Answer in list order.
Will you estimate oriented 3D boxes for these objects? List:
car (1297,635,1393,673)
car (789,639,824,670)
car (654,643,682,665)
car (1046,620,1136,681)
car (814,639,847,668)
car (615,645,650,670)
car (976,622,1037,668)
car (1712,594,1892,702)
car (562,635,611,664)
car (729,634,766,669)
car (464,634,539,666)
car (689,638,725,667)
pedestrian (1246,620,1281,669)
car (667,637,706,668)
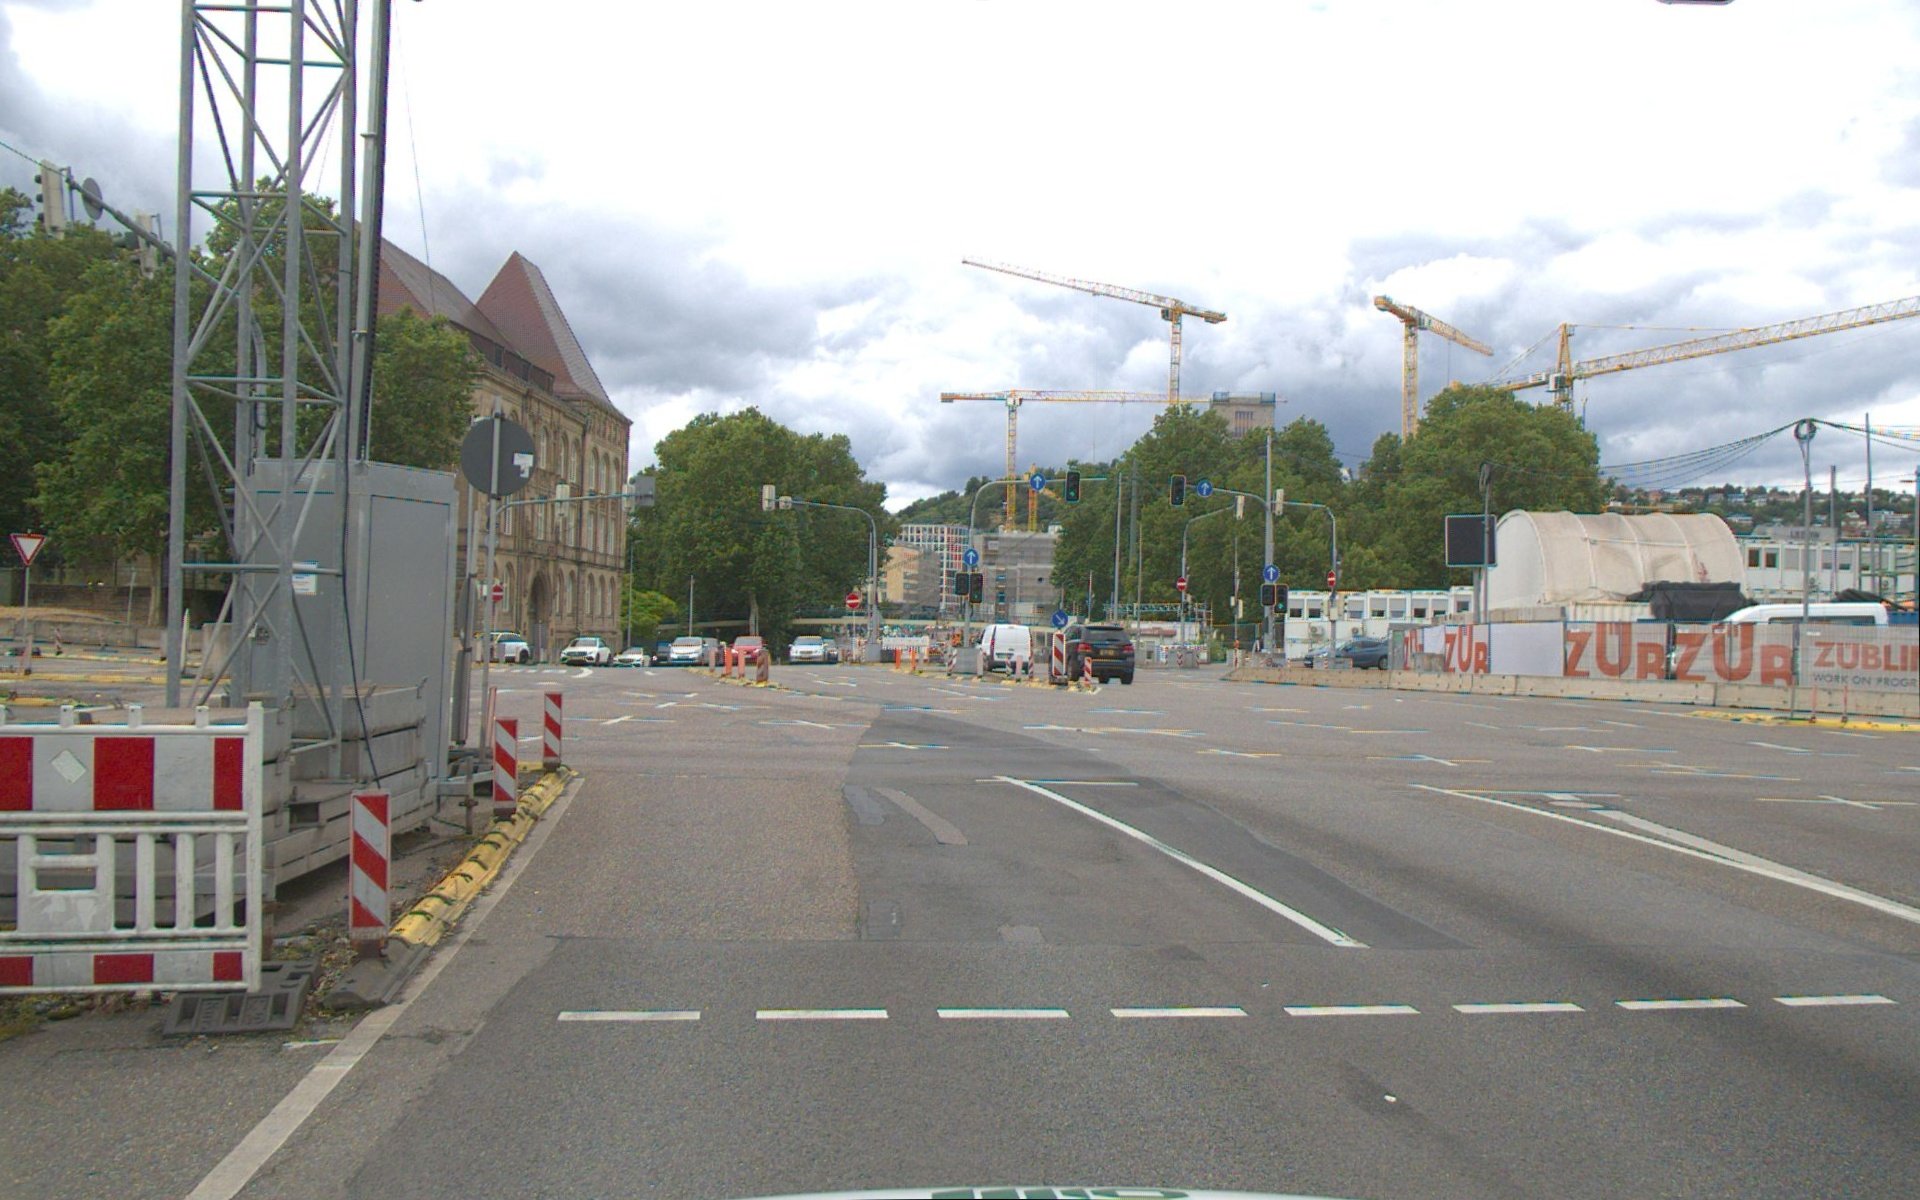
[{"bbox_3d":[17.573,2.448,75.439,3.925,1.653,1.813,1,-1,-18],"label":"car"},{"bbox_3d":[-7.501,2.627,80.758,1.643,1.423,3.678,1,-1,-6],"label":"car"},{"bbox_3d":[-20.031,3.702,113.563,1.643,1.423,3.678,1,-1,-6],"label":"car"},{"bbox_3d":[3.914,1.498,50.059,1.798,1.776,4.246,1,-1,-9],"label":"car"},{"bbox_3d":[-6.892,2.831,87.810,1.643,1.423,3.678,1,-1,-6],"label":"car"},{"bbox_3d":[-19.590,3.407,99.015,1.643,1.423,3.678,1,-1,-6],"label":"car"},{"bbox_3d":[1.737,1.696,62.870,1.782,1.653,3.994,1,-1,-6],"label":"car"},{"bbox_3d":[21.833,1.223,43.035,3.902,2.708,1.682,0,-1,14],"label":"car"},{"bbox_3d":[-19.240,2.522,85.266,1.641,1.423,3.683,1,-1,1],"label":"car"},{"bbox_3d":[-10.347,2.495,80.558,1.643,1.608,3.678,1,-1,-6],"label":"car"},{"bbox_3d":[-21.033,2.277,76.044,1.640,1.423,3.685,0,-1,16],"label":"car"},{"bbox_3d":[-13.374,2.771,87.642,1.643,1.423,3.678,1,-1,-6],"label":"car"},{"bbox_3d":[12.641,1.851,69.003,1.075,2.049,1.181,1,-1,-11],"label":"pedestrian"},{"bbox_3d":[-13.460,2.563,81.485,1.643,1.423,3.678,1,-1,-6],"label":"car"}]
